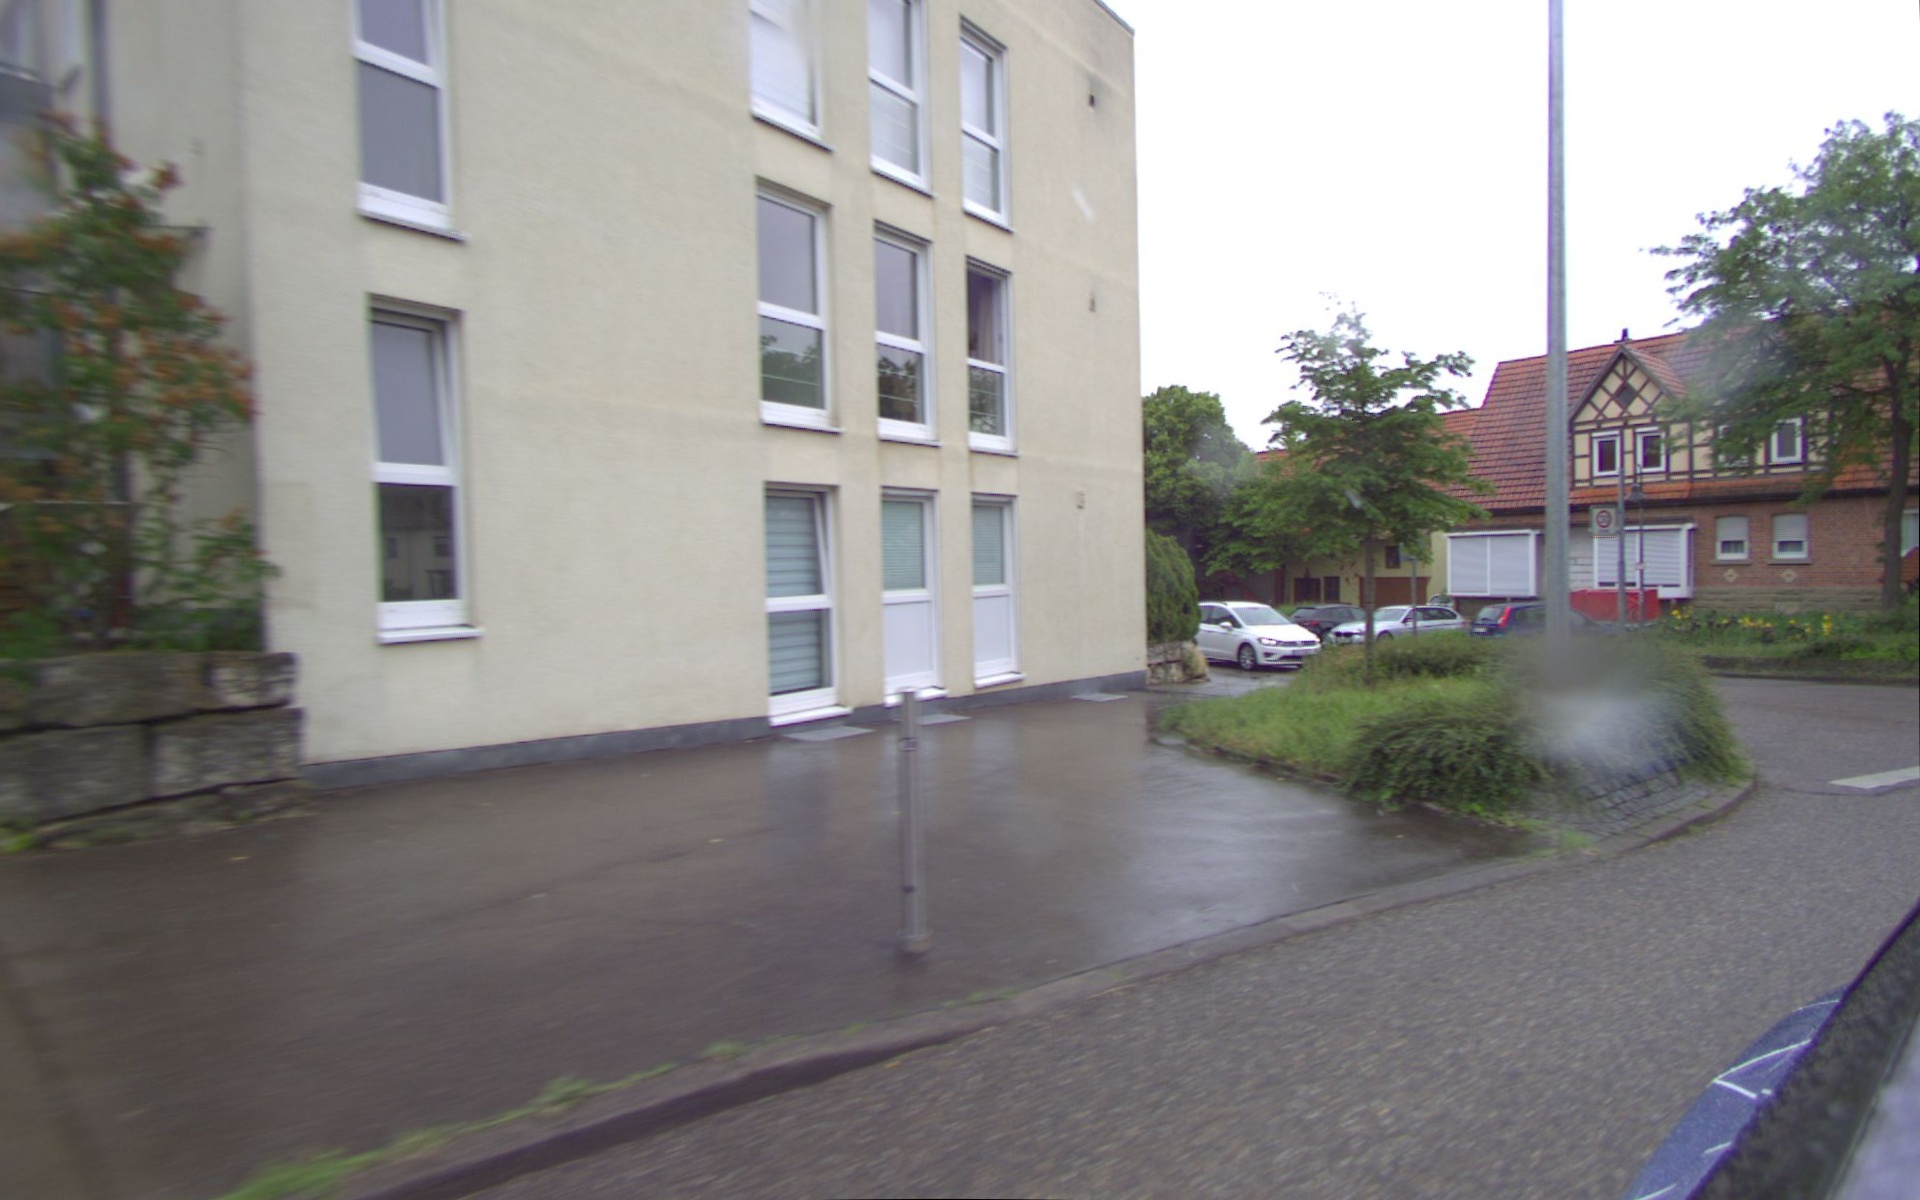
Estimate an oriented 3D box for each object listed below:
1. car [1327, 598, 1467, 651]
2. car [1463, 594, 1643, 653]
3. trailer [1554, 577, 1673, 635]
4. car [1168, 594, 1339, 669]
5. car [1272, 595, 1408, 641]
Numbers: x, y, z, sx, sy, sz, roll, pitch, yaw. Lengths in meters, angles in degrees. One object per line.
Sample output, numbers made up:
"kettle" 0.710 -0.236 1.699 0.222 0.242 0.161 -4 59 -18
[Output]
"car" 13.050 0.685 30.198 3.917 1.407 1.626 -1 1 -25
"car" 15.272 0.578 26.179 3.662 1.407 1.624 -1 1 -1
"trailer" 19.903 0.153 30.890 1.385 1.670 2.726 0 0 -32
"car" 6.849 0.664 24.090 1.721 1.555 4.158 -1 1 -21
"car" 12.340 0.549 32.845 3.917 1.393 1.884 0 0 -23
